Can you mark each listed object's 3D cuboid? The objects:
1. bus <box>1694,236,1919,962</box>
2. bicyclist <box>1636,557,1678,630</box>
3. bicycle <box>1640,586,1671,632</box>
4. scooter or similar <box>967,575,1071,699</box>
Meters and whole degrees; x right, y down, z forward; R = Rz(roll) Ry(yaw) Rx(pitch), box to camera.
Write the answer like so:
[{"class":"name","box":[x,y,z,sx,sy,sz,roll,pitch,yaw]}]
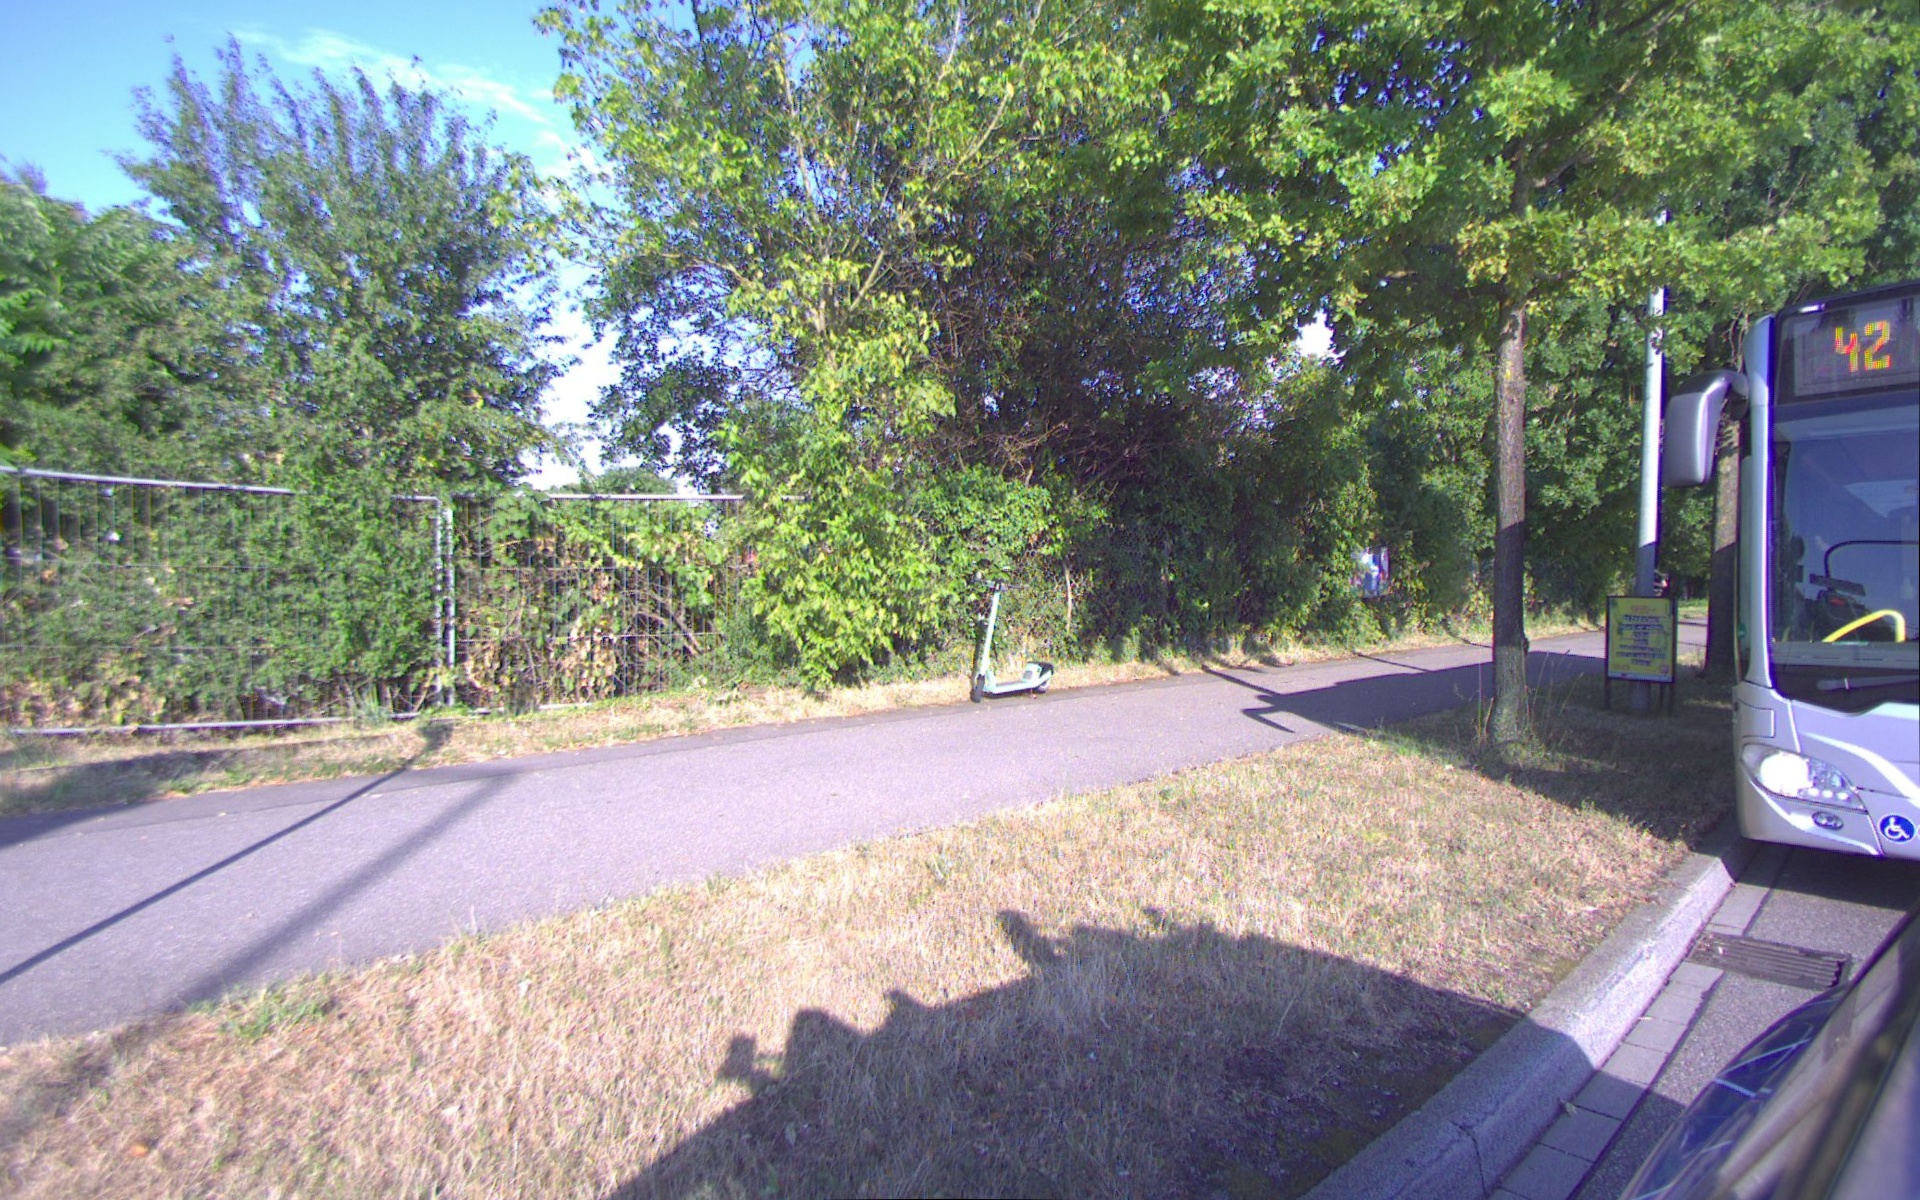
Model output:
[{"class":"bus","box":[8.610,-0.025,7.866,11.523,3.081,2.591,0,1,-43]},{"class":"bicyclist","box":[18.599,-0.195,27.005,0.618,1.850,0.819,10,7,38]},{"class":"bicycle","box":[18.577,0.226,27.018,0.414,1.172,1.863,5,3,40]},{"class":"scooter or similar","box":[0.581,0.340,9.796,1.076,1.139,0.249,0,4,-41]}]
